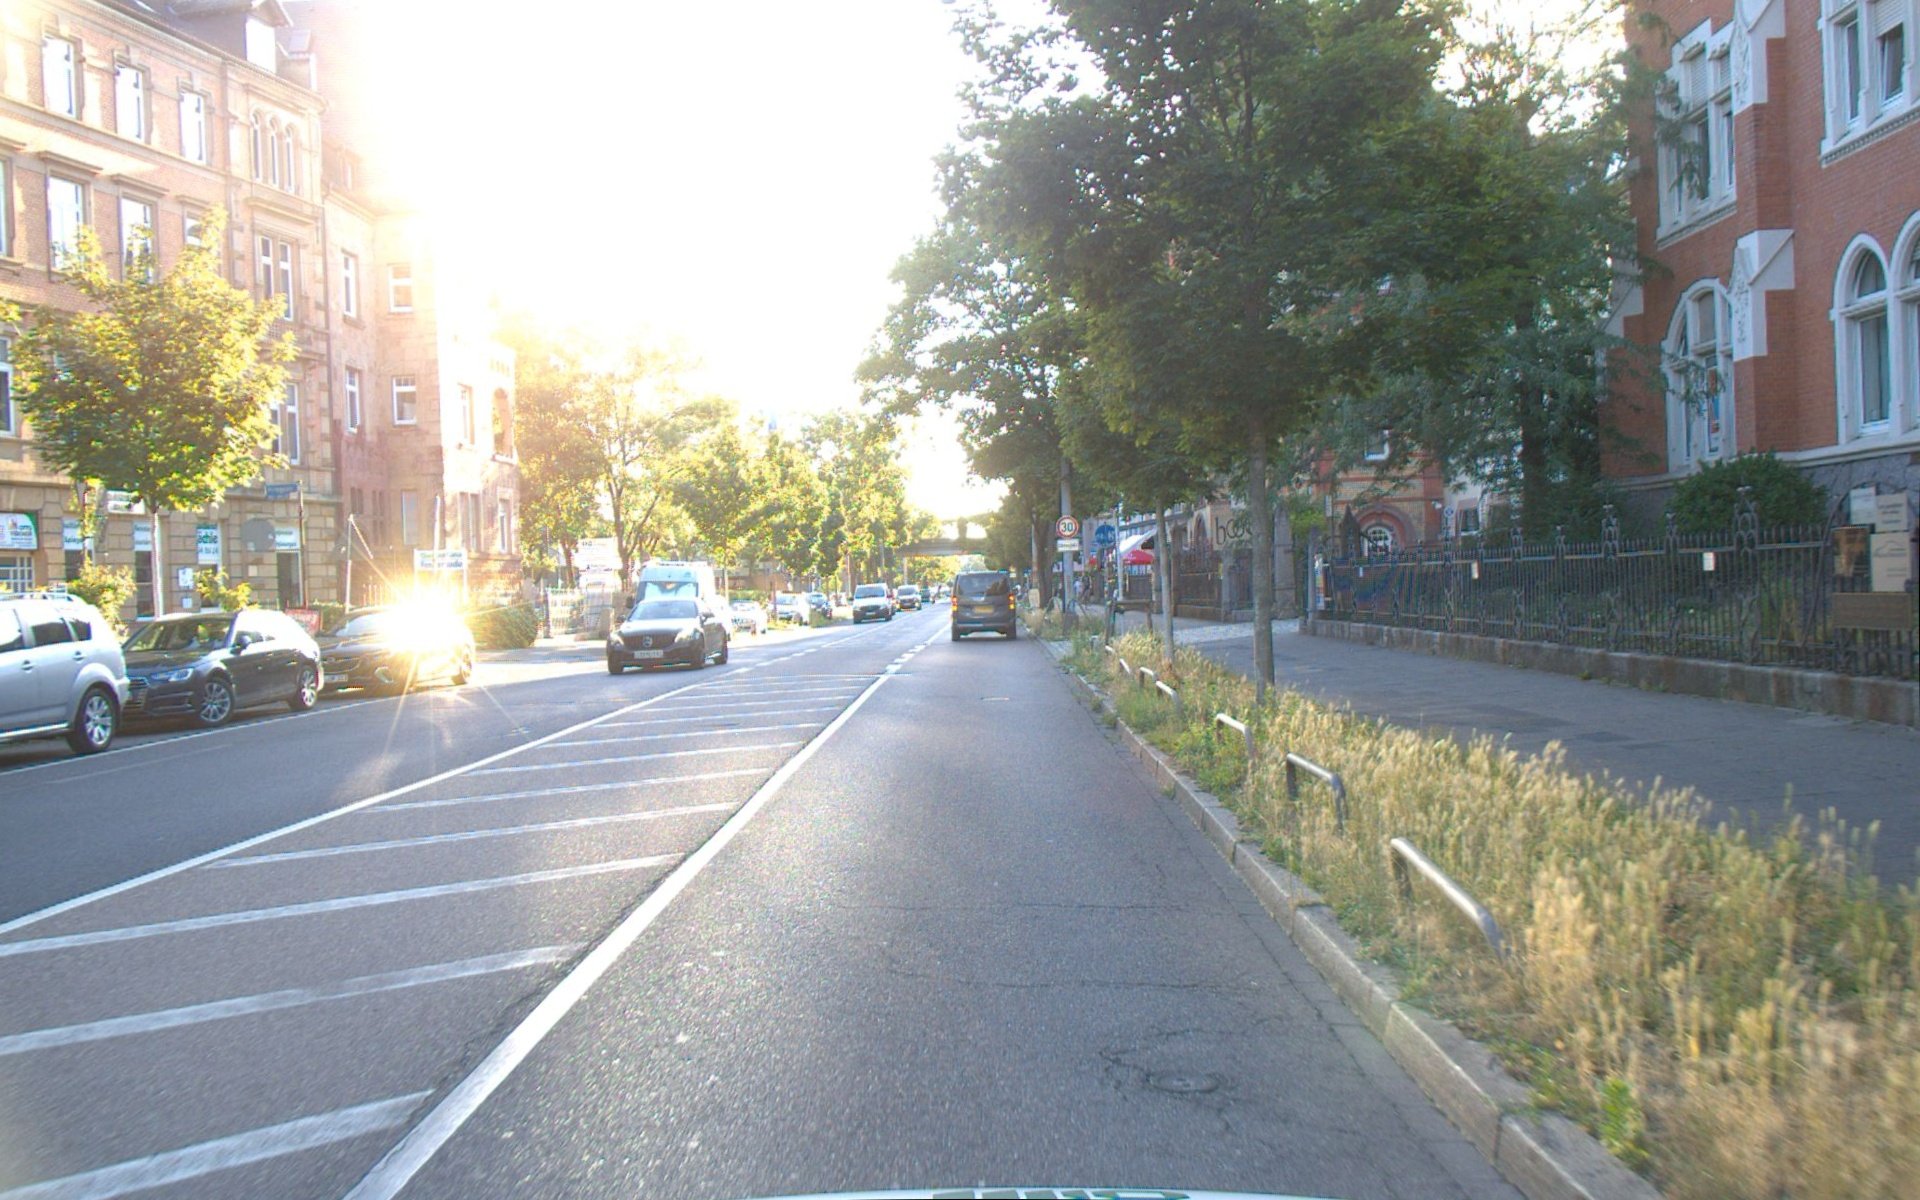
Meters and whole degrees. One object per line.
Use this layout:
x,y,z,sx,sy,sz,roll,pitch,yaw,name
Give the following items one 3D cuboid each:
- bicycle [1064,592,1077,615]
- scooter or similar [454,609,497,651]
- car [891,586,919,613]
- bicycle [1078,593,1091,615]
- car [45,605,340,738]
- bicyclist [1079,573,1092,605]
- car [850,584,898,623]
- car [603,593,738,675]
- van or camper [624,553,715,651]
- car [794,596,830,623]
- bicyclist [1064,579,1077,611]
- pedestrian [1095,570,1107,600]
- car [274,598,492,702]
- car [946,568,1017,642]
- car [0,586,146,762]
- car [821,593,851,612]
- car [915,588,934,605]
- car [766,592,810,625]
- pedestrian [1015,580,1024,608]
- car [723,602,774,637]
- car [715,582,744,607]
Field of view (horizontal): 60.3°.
5.360,0.168,80.523,0.533,1.058,2.089,0,0,1,bicycle
-13.331,0.825,45.549,0.283,1.075,1.111,-3,1,43,scooter or similar
-3.989,-0.055,119.966,1.795,1.885,4.474,-3,0,0,car
6.022,0.184,79.880,0.506,1.058,2.089,0,0,1,bicycle
-10.019,0.858,22.045,1.700,1.470,4.625,-2,1,0,car
6.081,-0.534,80.016,0.583,1.559,0.893,0,0,1,bicyclist
-4.406,0.164,85.534,1.952,1.863,5.171,-3,0,2,car
-5.647,0.614,32.789,1.729,1.426,4.546,-2,1,1,car
-8.527,0.029,49.016,1.954,2.715,6.034,0,0,-3,van or camper
-8.105,0.523,90.757,1.604,1.410,4.000,0,0,0,car
5.369,-0.253,80.585,0.583,1.559,0.893,0,0,1,bicyclist
7.809,-0.826,91.500,0.631,1.661,0.656,0,0,1,pedestrian
-9.715,0.780,28.316,1.953,1.509,4.829,-2,0,0,car
0.646,0.112,47.356,1.848,1.958,3.840,-2,1,2,car
-10.089,0.745,16.256,1.827,1.673,4.571,-3,0,0,car
-9.711,0.201,129.770,1.952,1.439,4.237,0,0,1,car
-3.523,-0.382,163.628,1.645,1.556,4.001,-4,0,1,car
-8.109,0.373,78.197,1.662,1.477,4.000,0,0,0,car
4.011,-0.393,112.213,0.496,1.922,0.543,0,0,-14,pedestrian
-8.048,0.726,63.180,1.504,1.270,3.614,0,0,0,car
-22.585,-0.546,162.302,1.952,2.348,5.246,0,0,1,car
